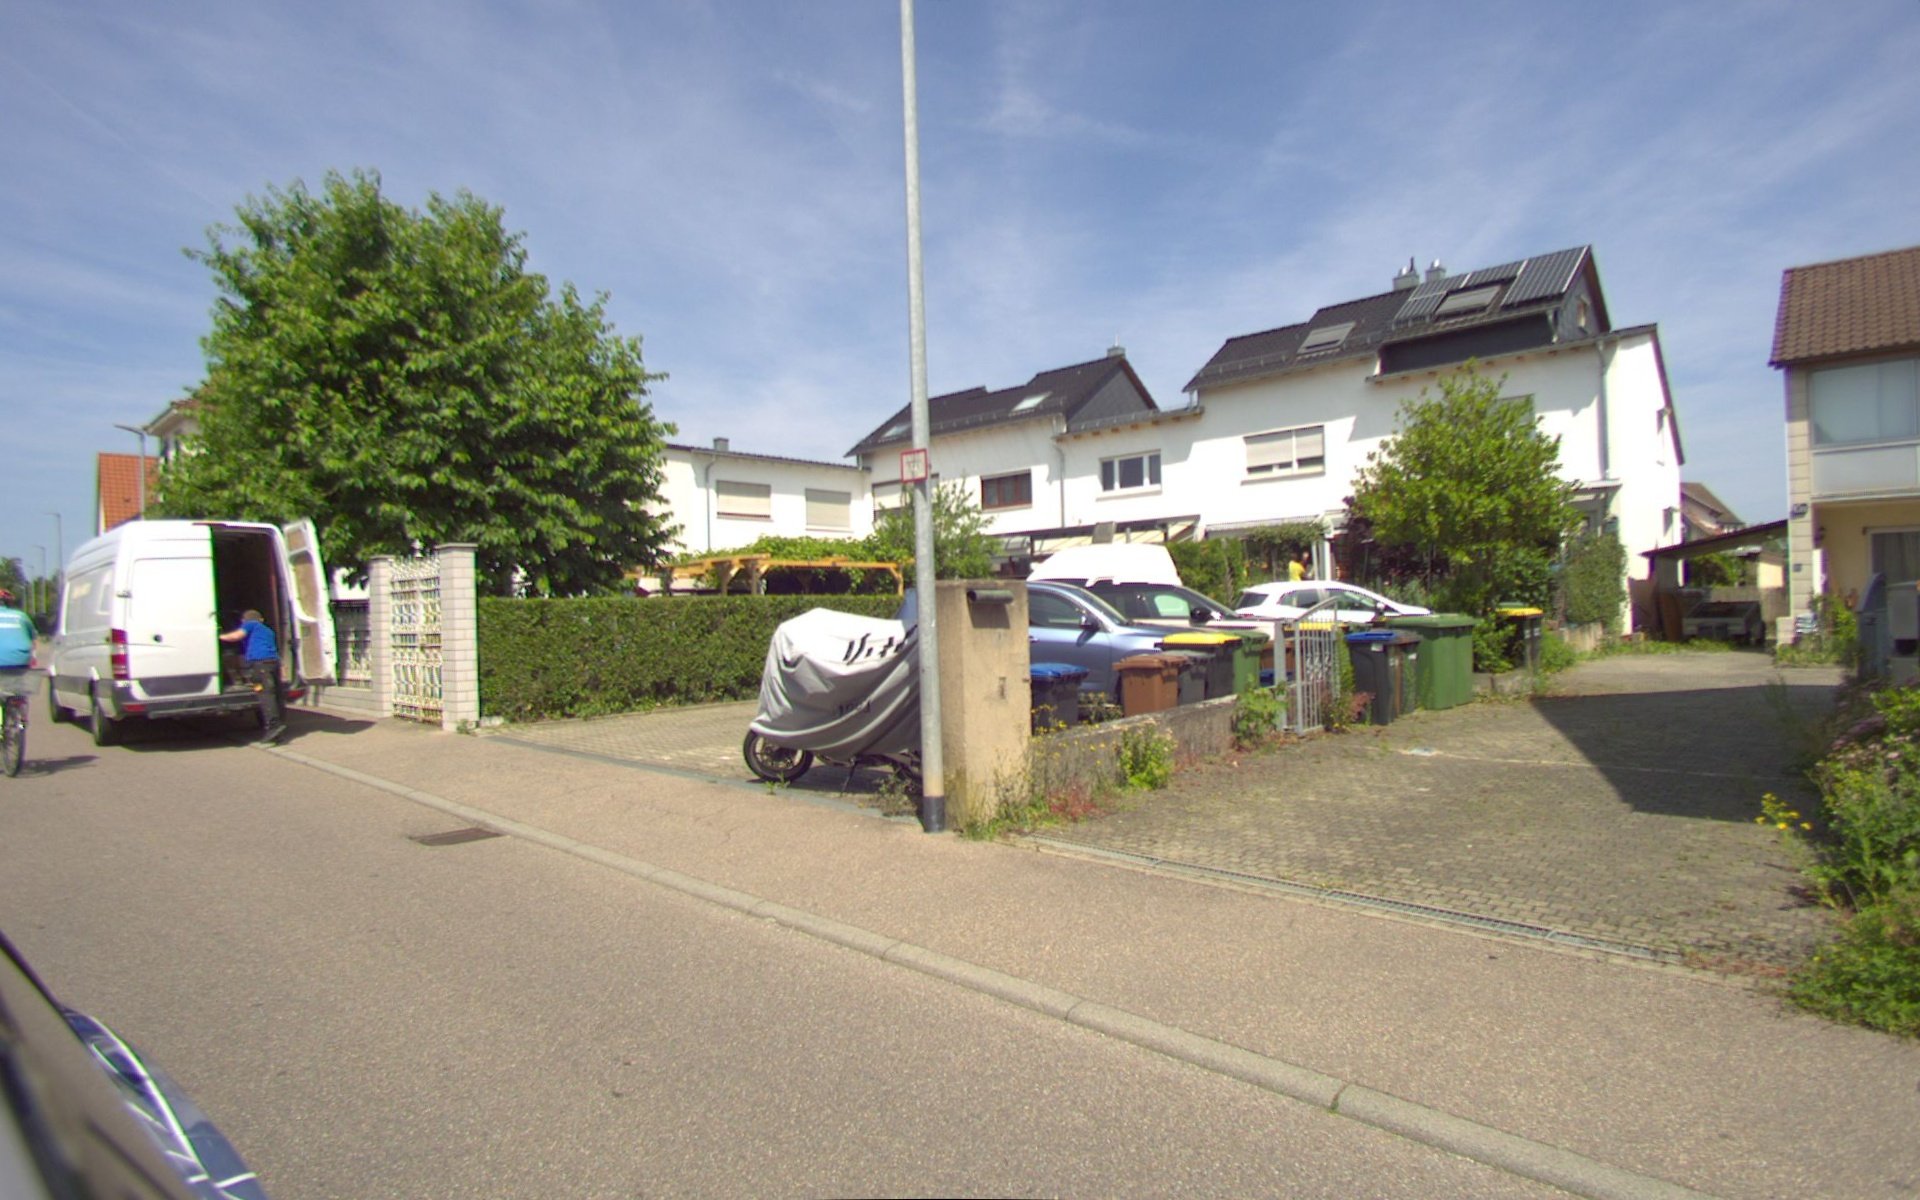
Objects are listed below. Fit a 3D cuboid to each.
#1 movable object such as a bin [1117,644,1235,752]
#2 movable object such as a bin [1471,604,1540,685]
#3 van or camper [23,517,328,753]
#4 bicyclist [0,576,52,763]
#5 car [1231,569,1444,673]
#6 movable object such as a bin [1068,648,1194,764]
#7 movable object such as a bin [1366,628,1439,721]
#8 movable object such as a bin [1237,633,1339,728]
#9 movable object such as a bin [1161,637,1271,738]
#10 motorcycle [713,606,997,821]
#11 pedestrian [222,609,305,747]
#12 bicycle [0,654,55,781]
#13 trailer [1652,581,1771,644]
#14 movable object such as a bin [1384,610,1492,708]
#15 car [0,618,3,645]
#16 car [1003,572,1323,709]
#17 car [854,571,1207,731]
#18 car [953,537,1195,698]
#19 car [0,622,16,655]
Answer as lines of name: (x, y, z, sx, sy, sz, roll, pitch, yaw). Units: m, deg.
movable object such as a bin: (2.019, 0.881, 9.439, 0.773, 0.912, 0.791, -2, -1, 42)
movable object such as a bin: (7.613, 0.603, 14.107, 0.772, 1.069, 0.781, -1, 0, 33)
van or camper: (-11.203, 0.438, 14.171, 6.805, 2.591, 2.161, -2, 0, 42)
bicyclist: (-9.654, 0.678, 10.135, 0.941, 1.812, 0.705, -2, 0, 41)
car: (6.744, 0.376, 18.418, 3.320, 1.691, 1.767, -2, 0, 12)
movable object such as a bin: (1.492, 0.893, 8.834, 0.773, 0.912, 0.791, -2, -1, 42)
movable object such as a bin: (4.671, 0.768, 10.670, 0.478, 0.905, 0.804, -2, 0, 41)
movable object such as a bin: (3.442, 0.819, 10.619, 0.773, 0.912, 0.792, -1, -1, 40)
movable object such as a bin: (2.543, 0.840, 10.058, 0.773, 0.912, 0.791, -2, -1, 42)
motorcycle: (-0.871, 0.768, 7.724, 2.352, 1.403, 0.775, -1, -1, 42)
pedestrian: (-8.144, 0.889, 11.840, 0.726, 1.529, 0.566, -2, 2, 41)
bicycle: (-9.731, 1.134, 10.192, 2.189, 1.141, 0.663, -2, -3, 42)
trailer: (17.744, 0.247, 23.808, 2.042, 1.317, 4.709, -1, 0, 39)
movable object such as a bin: (5.623, 0.659, 11.886, 0.859, 1.049, 1.172, -1, 0, 41)
car: (-71.685, 2.355, 74.328, 1.945, 1.966, 4.700, -1, 0, -43)
car: (2.824, 0.543, 14.176, 4.086, 1.691, 1.718, -1, -1, 26)
car: (0.879, 0.577, 12.113, 3.906, 1.691, 1.763, -1, -1, 18)
car: (2.189, 0.281, 18.251, 1.965, 2.511, 4.752, -2, -1, 41)
car: (-43.647, 1.736, 44.185, 4.464, 1.408, 1.915, -1, 0, 23)
